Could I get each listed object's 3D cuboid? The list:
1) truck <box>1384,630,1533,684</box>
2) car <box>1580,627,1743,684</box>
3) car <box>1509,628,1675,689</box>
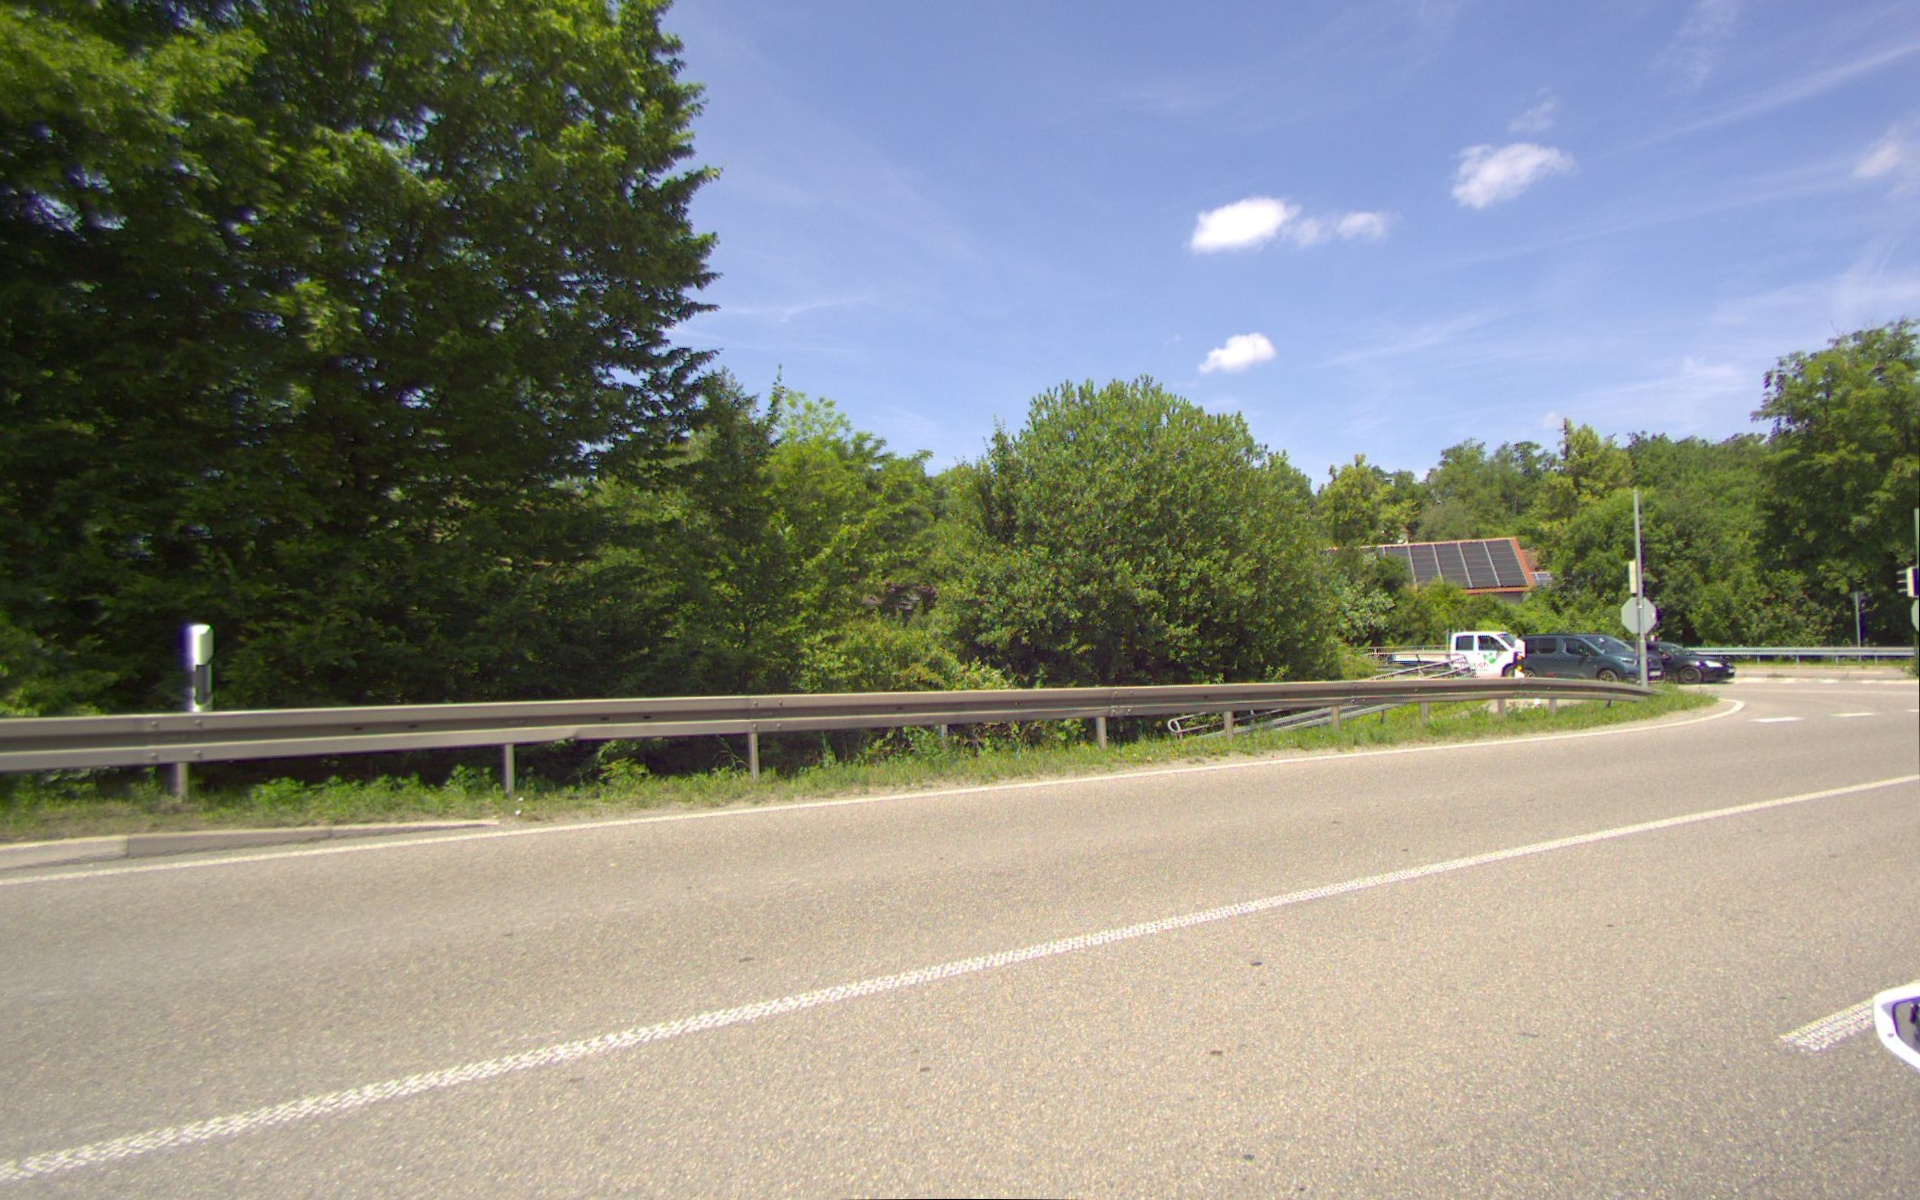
[{"bbox_3d":[19.599,2.205,39.678,2.028,1.815,4.832,4,-2,-41],"label":"truck"},{"bbox_3d":[23.783,1.848,34.246,1.970,1.793,4.229,2,-2,-20],"label":"car"},{"bbox_3d":[20.186,1.822,32.312,1.970,1.793,4.229,2,-2,-20],"label":"car"}]
